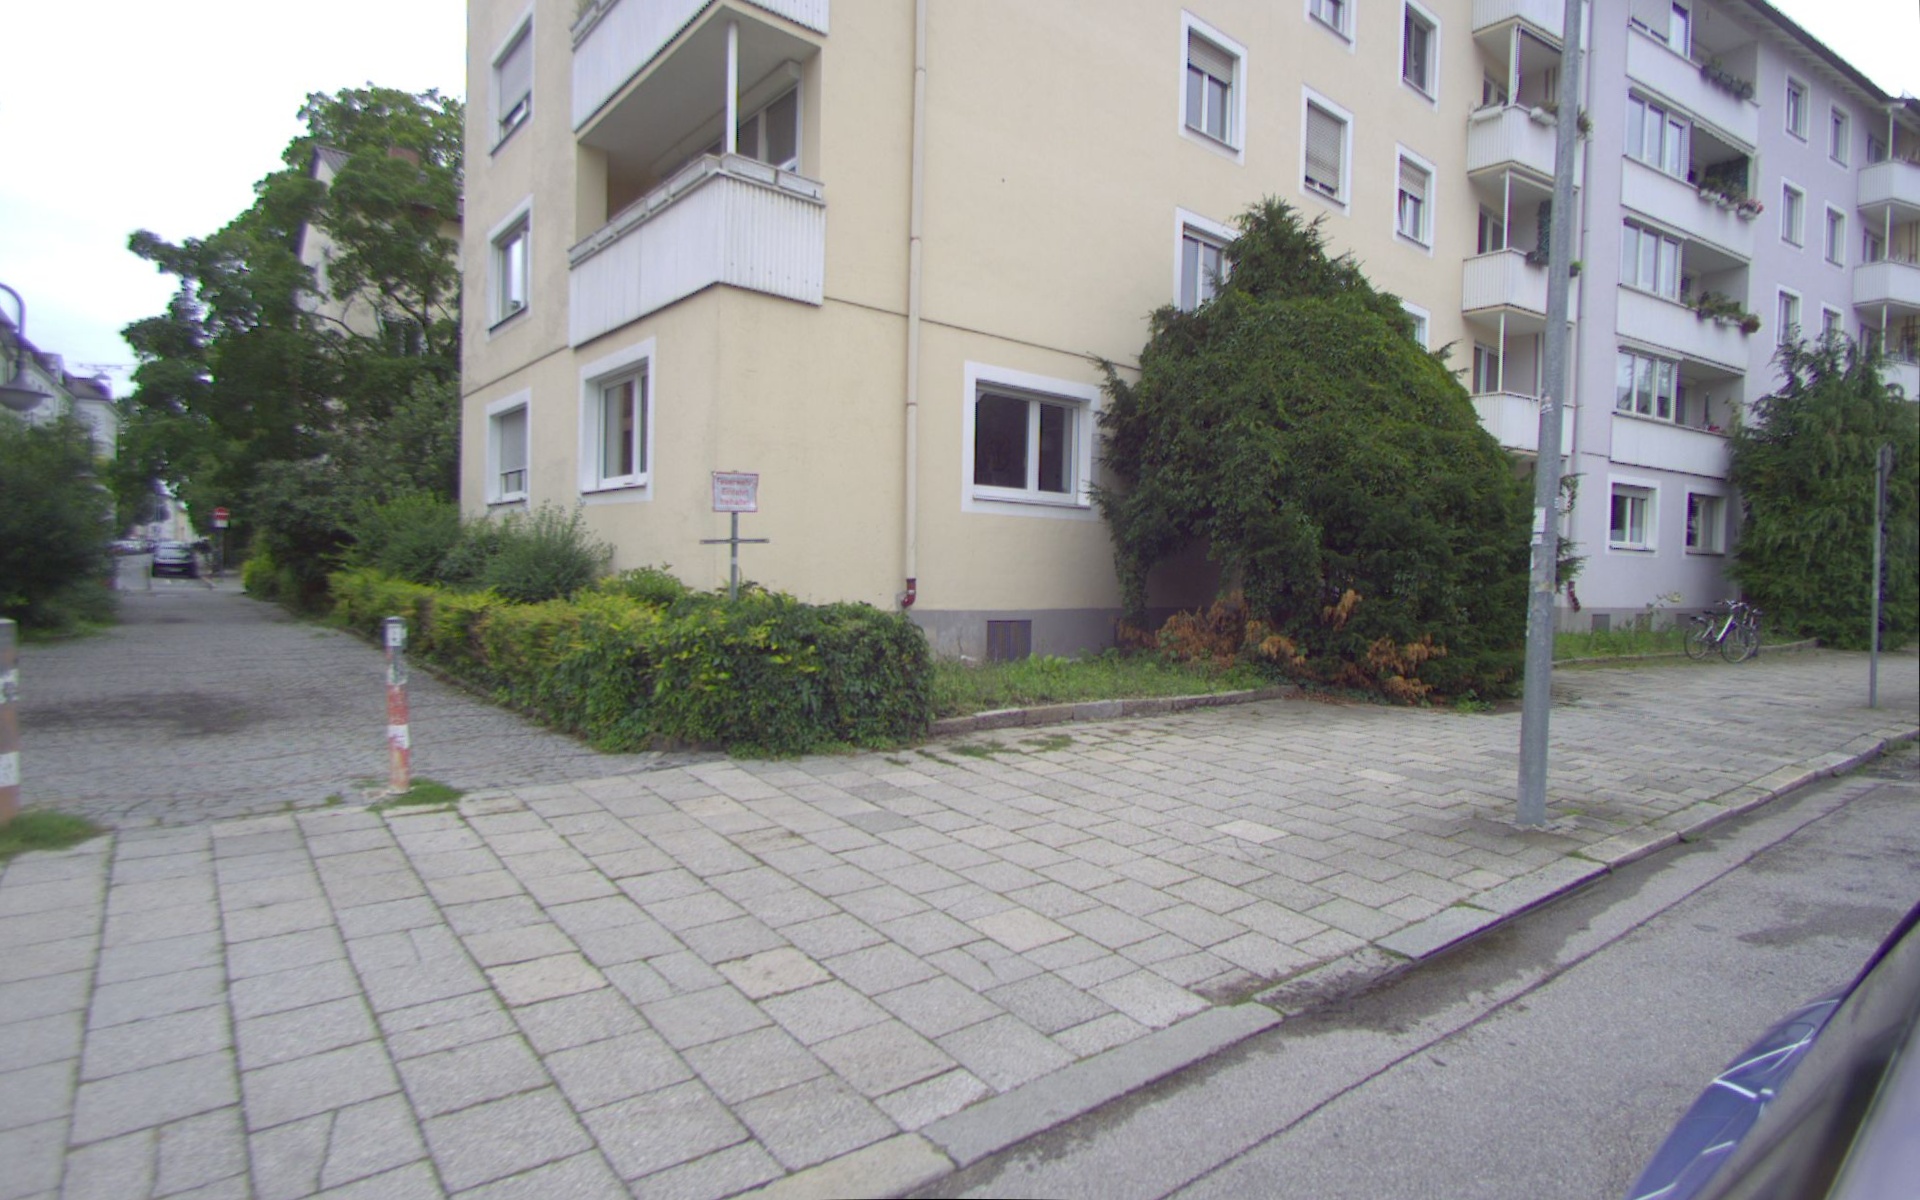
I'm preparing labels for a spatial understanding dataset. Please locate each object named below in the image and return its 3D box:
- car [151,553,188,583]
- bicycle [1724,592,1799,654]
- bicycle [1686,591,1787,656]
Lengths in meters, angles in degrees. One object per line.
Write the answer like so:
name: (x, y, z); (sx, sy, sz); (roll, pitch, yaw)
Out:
car: (-42.345, -1.683, 54.194); (1.452, 1.483, 3.603); (1, 0, -40)
bicycle: (15.660, 0.433, 19.762); (1.905, 1.131, 0.469); (0, 3, -31)
bicycle: (14.170, 0.420, 18.464); (1.903, 1.131, 0.470); (1, 2, -20)
